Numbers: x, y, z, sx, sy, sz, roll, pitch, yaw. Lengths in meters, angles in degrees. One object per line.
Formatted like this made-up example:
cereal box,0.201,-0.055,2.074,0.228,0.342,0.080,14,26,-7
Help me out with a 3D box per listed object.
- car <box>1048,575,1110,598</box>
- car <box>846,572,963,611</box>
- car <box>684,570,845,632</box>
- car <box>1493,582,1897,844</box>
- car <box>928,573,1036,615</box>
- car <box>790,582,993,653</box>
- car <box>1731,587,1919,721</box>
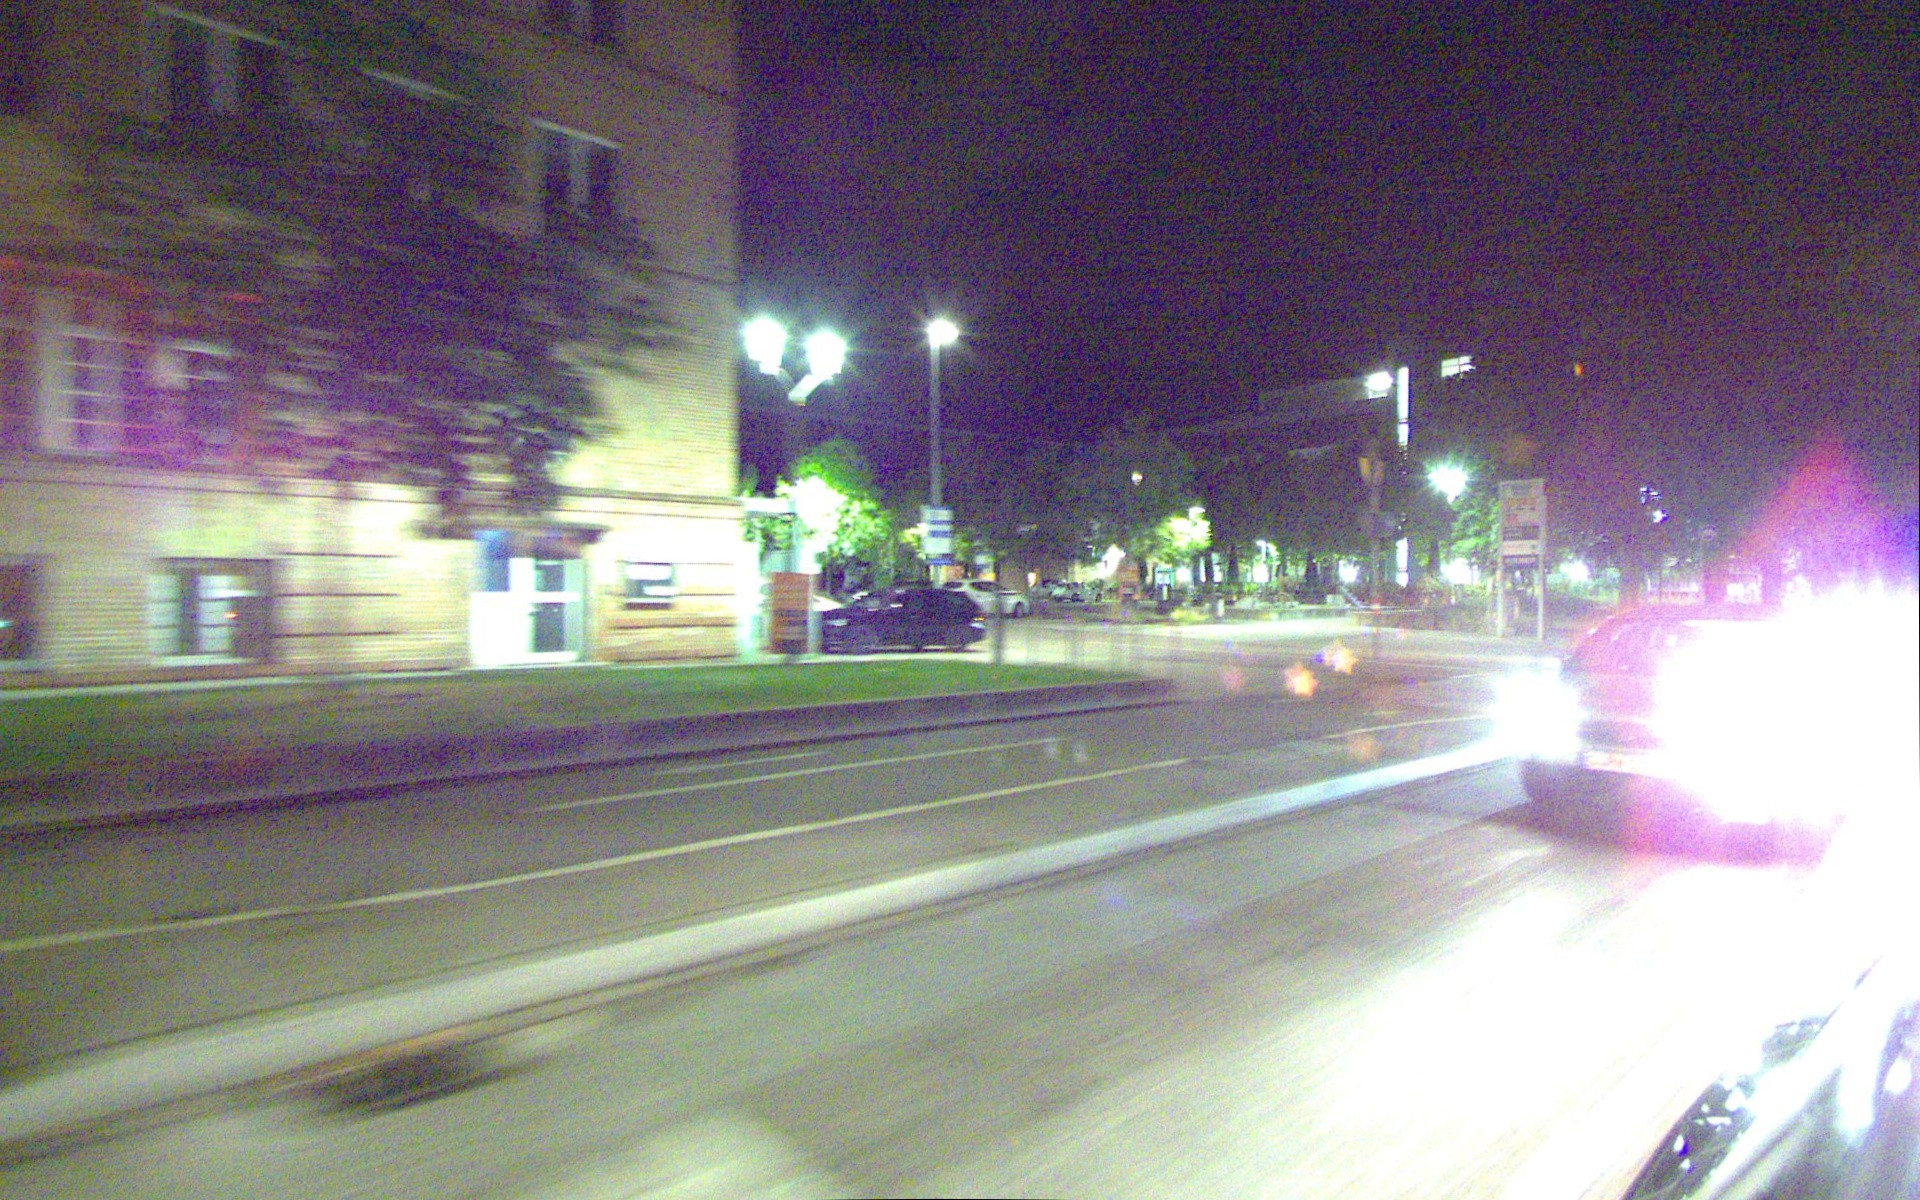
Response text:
car,8.397,-0.951,70.998,4.226,1.527,1.997,0,2,-41
car,-2.305,-0.382,42.667,4.808,1.531,1.892,-1,2,-42
car,-5.272,-0.016,27.527,3.930,1.552,1.785,-1,1,-41
car,5.762,0.647,7.759,3.930,1.513,1.640,0,-1,-41
car,0.879,-0.265,39.138,4.026,1.552,1.772,-1,1,-41
car,-1.448,0.351,22.506,4.399,1.412,1.517,0,1,-38
car,12.033,0.597,13.478,4.646,1.513,1.808,-1,-1,-40
